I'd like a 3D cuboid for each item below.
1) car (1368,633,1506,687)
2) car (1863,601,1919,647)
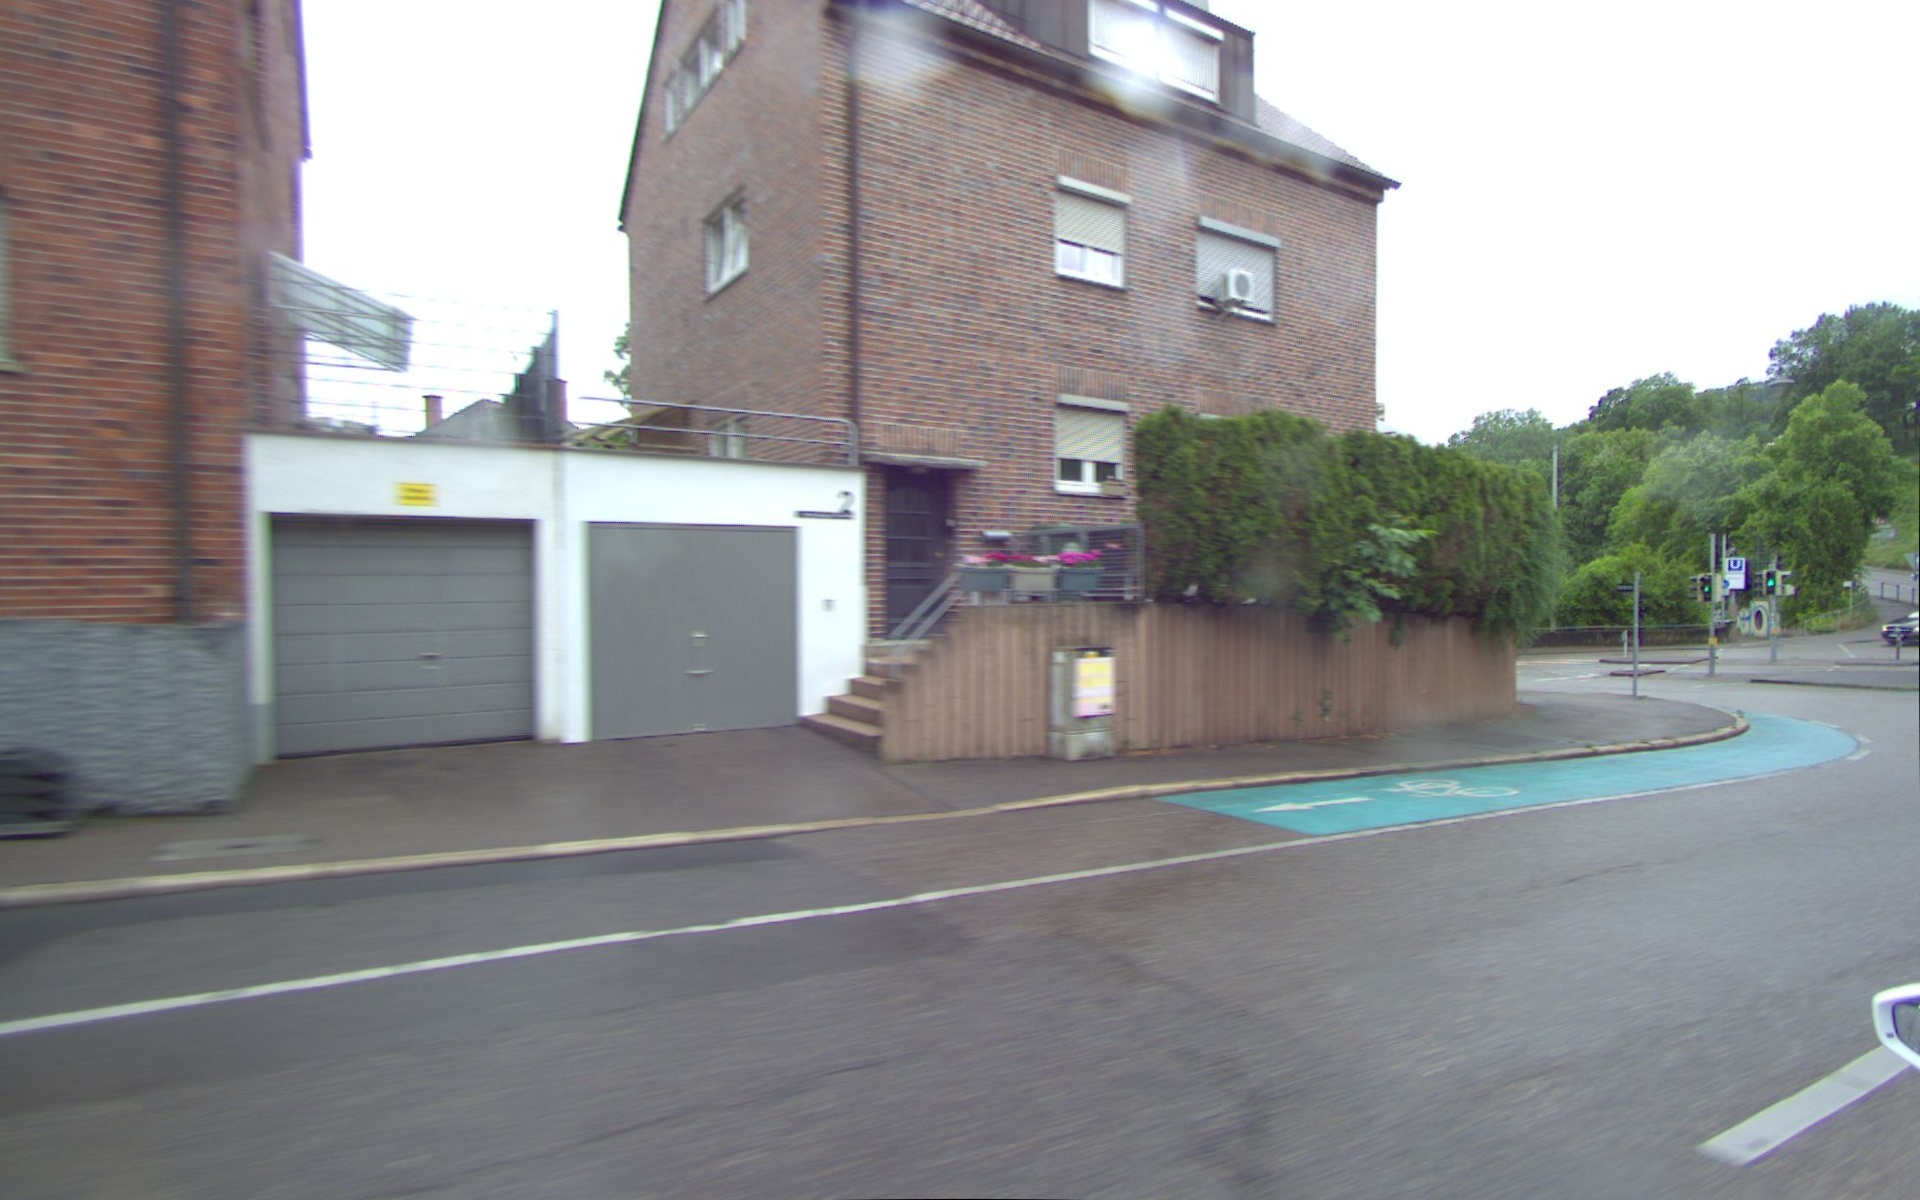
[{"bbox_3d":[17.231,2.134,36.490,1.974,1.696,4.137,-3,-1,-27],"label":"car"},{"bbox_3d":[37.481,0.851,38.602,3.922,1.570,1.747,-4,0,0],"label":"car"}]
